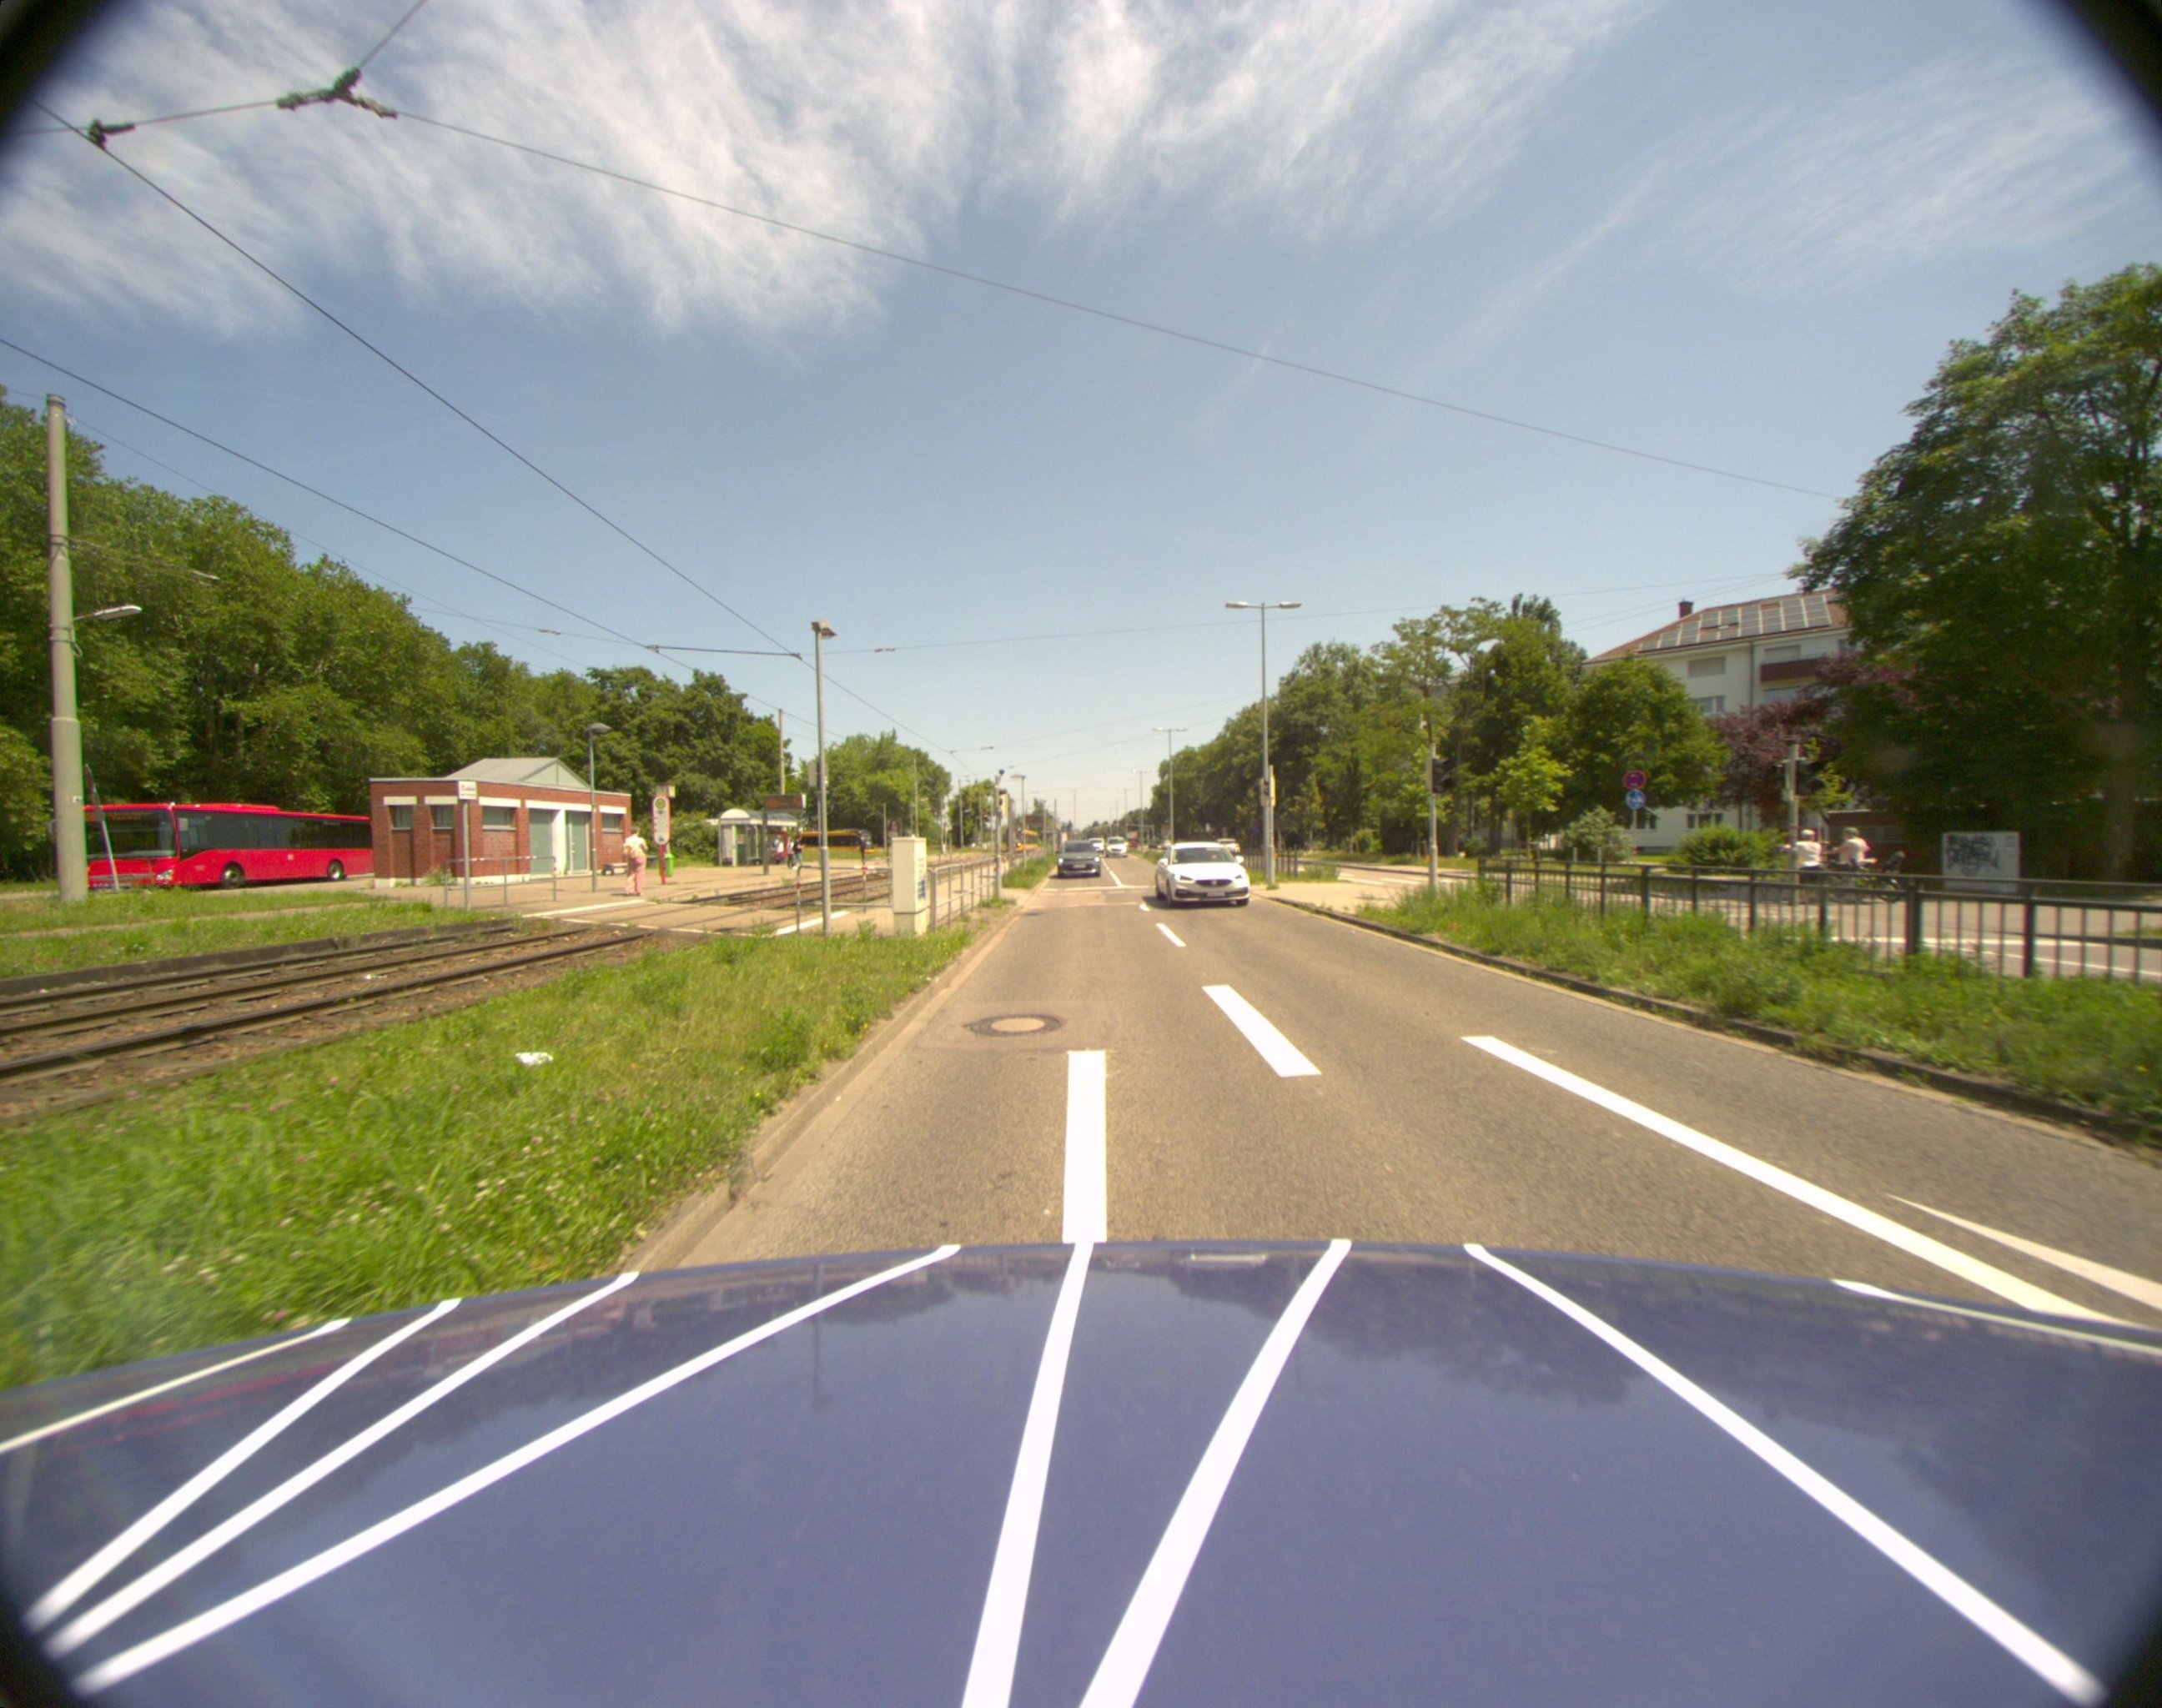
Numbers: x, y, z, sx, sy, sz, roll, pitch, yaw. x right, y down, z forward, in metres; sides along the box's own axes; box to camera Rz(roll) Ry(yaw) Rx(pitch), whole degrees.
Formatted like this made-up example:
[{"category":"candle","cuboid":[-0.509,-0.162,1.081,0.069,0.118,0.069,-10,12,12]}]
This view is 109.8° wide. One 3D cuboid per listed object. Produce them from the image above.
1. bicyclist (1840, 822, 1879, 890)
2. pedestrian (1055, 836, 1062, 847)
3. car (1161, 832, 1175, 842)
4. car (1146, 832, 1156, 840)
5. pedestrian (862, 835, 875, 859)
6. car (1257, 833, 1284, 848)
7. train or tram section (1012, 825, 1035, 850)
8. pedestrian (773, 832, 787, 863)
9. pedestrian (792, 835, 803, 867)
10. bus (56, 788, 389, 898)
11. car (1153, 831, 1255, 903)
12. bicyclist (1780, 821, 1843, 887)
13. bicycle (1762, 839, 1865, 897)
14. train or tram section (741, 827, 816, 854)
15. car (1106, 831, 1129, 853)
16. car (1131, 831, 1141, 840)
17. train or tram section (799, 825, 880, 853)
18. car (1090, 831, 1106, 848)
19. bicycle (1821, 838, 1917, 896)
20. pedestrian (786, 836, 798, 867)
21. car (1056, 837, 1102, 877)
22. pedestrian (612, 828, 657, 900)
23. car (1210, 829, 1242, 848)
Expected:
[{"category":"bicyclist","cuboid":[16.107,0.032,15.728,0.358,1.384,0.440,-2,2,3]},{"category":"pedestrian","cuboid":[-2.217,-1.248,74.758,0.577,1.034,0.579,0,2,1]},{"category":"car","cuboid":[15.728,-3.188,138.215,1.864,1.749,4.477,-1,2,-2]},{"category":"car","cuboid":[15.813,-4.092,171.667,1.772,1.546,4.081,1,3,-1]},{"category":"pedestrian","cuboid":[-15.338,-0.501,54.775,0.707,1.755,0.657,0,2,3]},{"category":"car","cuboid":[20.594,-1.439,82.769,1.998,1.576,3.999,0,2,1]},{"category":"train or tram section","cuboid":[-8.128,-2.379,108.399,2.524,3.304,7.258,0,2,2]},{"category":"pedestrian","cuboid":[-17.446,-0.372,44.079,0.382,1.764,0.740,-2,3,4]},{"category":"pedestrian","cuboid":[-14.672,-0.163,39.353,0.361,1.637,0.445,0,2,4]},{"category":"bus","cuboid":[-32.969,-0.571,30.420,2.770,3.420,12.421,-3,3,-18]},{"category":"car","cuboid":[2.812,0.220,18.236,1.772,1.460,4.110,-2,2,0]},{"category":"bicyclist","cuboid":[15.264,-0.014,15.890,0.546,1.338,0.755,0,2,0]},{"category":"bicycle","cuboid":[15.270,0.267,15.908,0.589,1.127,1.615,0,2,1]},{"category":"train or tram section","cuboid":[-45.678,-1.989,114.449,13.215,3.629,2.719,-1,3,30]},{"category":"car","cuboid":[3.385,-1.128,70.595,1.998,2.002,4.000,0,2,3]},{"category":"car","cuboid":[12.622,-4.210,174.779,1.998,2.002,3.999,0,2,1]},{"category":"train or tram section","cuboid":[-34.380,-2.123,107.862,13.149,3.629,2.720,-1,3,31]},{"category":"car","cuboid":[2.100,-1.840,95.150,1.921,2.002,3.998,-1,2,0]},{"category":"bicycle","cuboid":[16.124,0.240,15.598,0.555,1.088,1.379,-2,3,2]},{"category":"pedestrian","cuboid":[-15.163,-0.131,39.864,0.361,1.588,0.483,-2,3,4]},{"category":"car","cuboid":[-0.023,0.076,33.078,1.787,1.554,4.135,-1,2,3]},{"category":"pedestrian","cuboid":[-11.245,0.223,19.157,0.637,1.750,0.815,-3,3,-12]},{"category":"car","cuboid":[12.405,-1.371,65.239,1.826,1.564,4.344,-1,3,-1]}]
